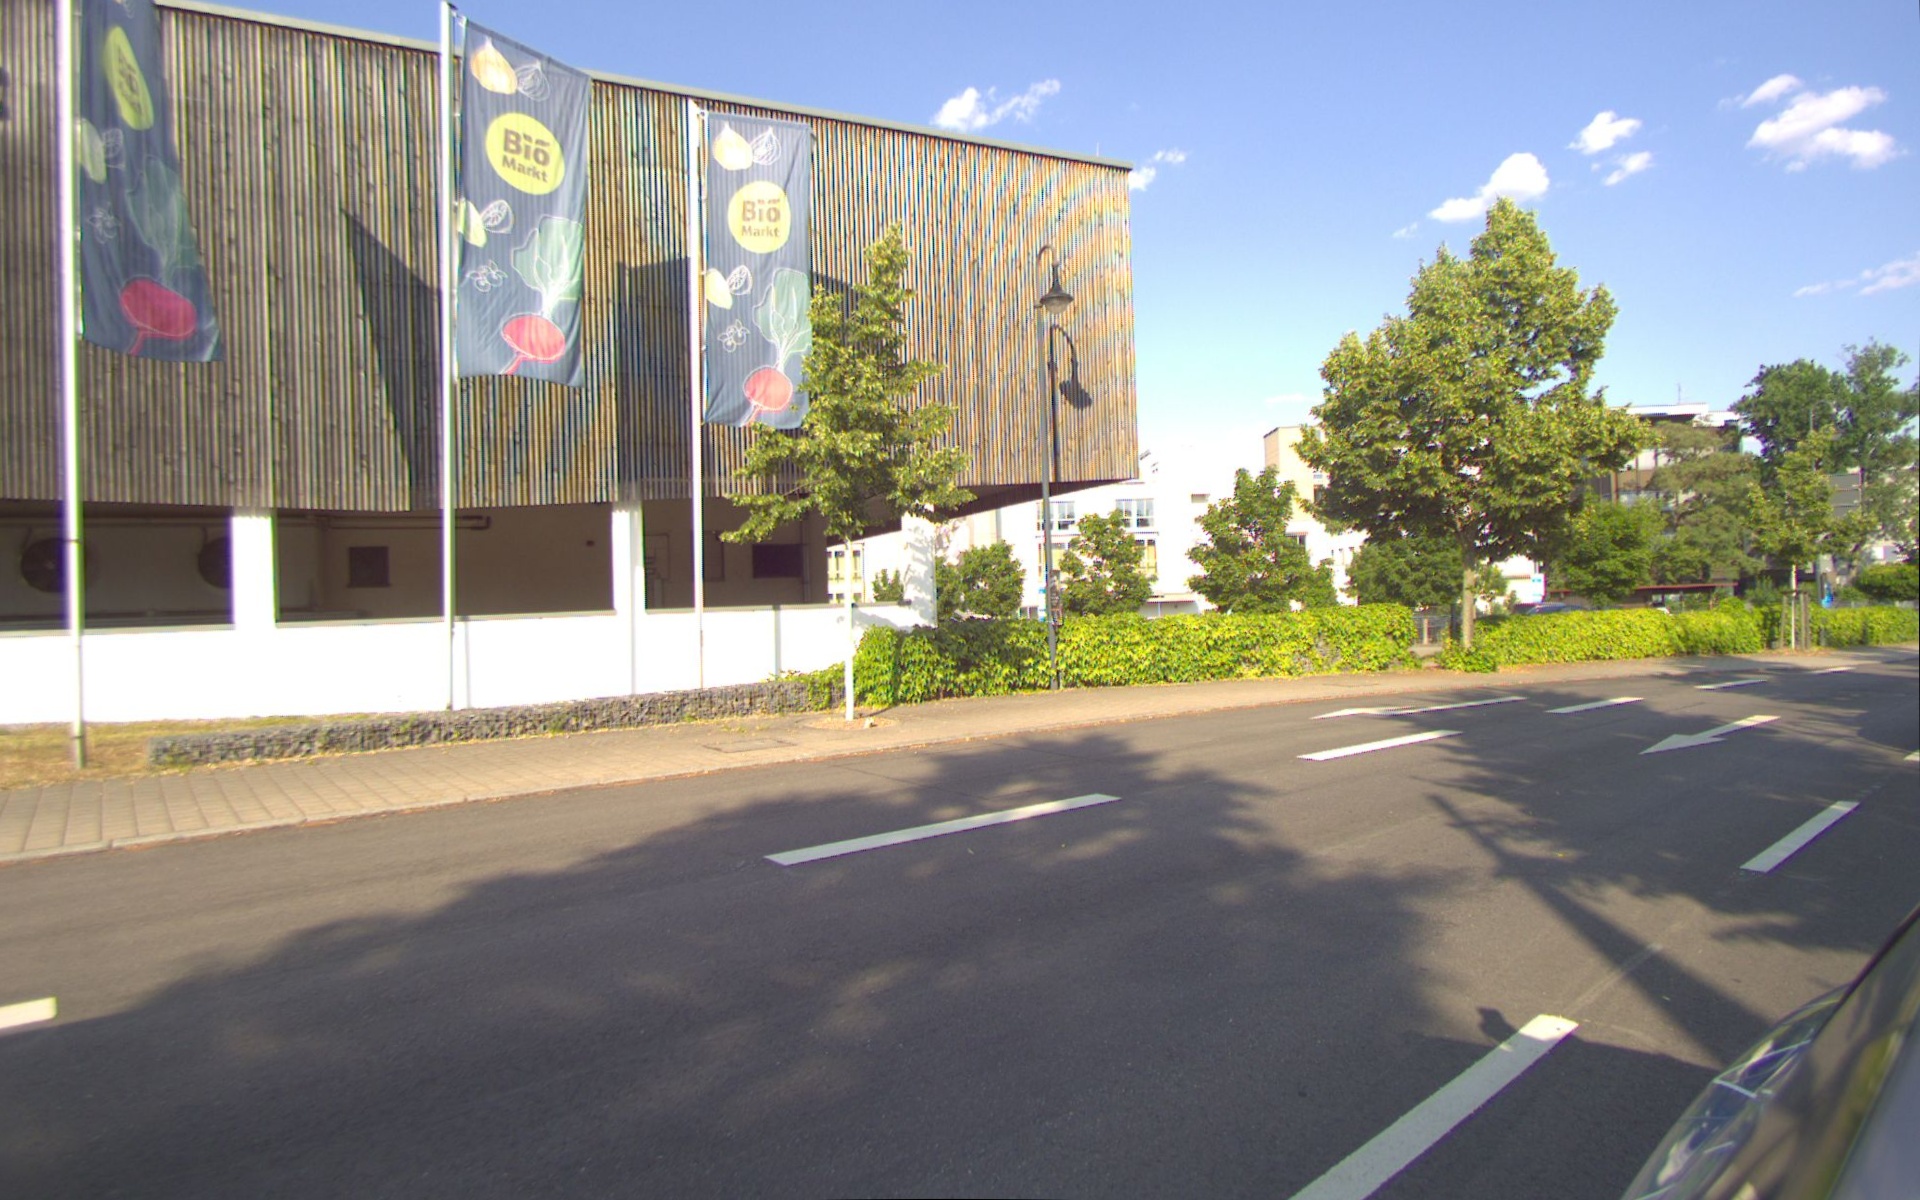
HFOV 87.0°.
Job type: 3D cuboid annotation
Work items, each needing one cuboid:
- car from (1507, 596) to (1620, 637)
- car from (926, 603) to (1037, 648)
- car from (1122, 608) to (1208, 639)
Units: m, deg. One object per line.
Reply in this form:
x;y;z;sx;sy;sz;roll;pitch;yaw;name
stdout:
25.355;0.695;42.488;4.456;1.552;2.002;-1;-3;-28;car
0.861;0.980;40.174;3.917;1.649;2.003;-1;-1;-25;car
11.899;1.344;58.807;4.452;1.669;2.004;-1;-1;-17;car
